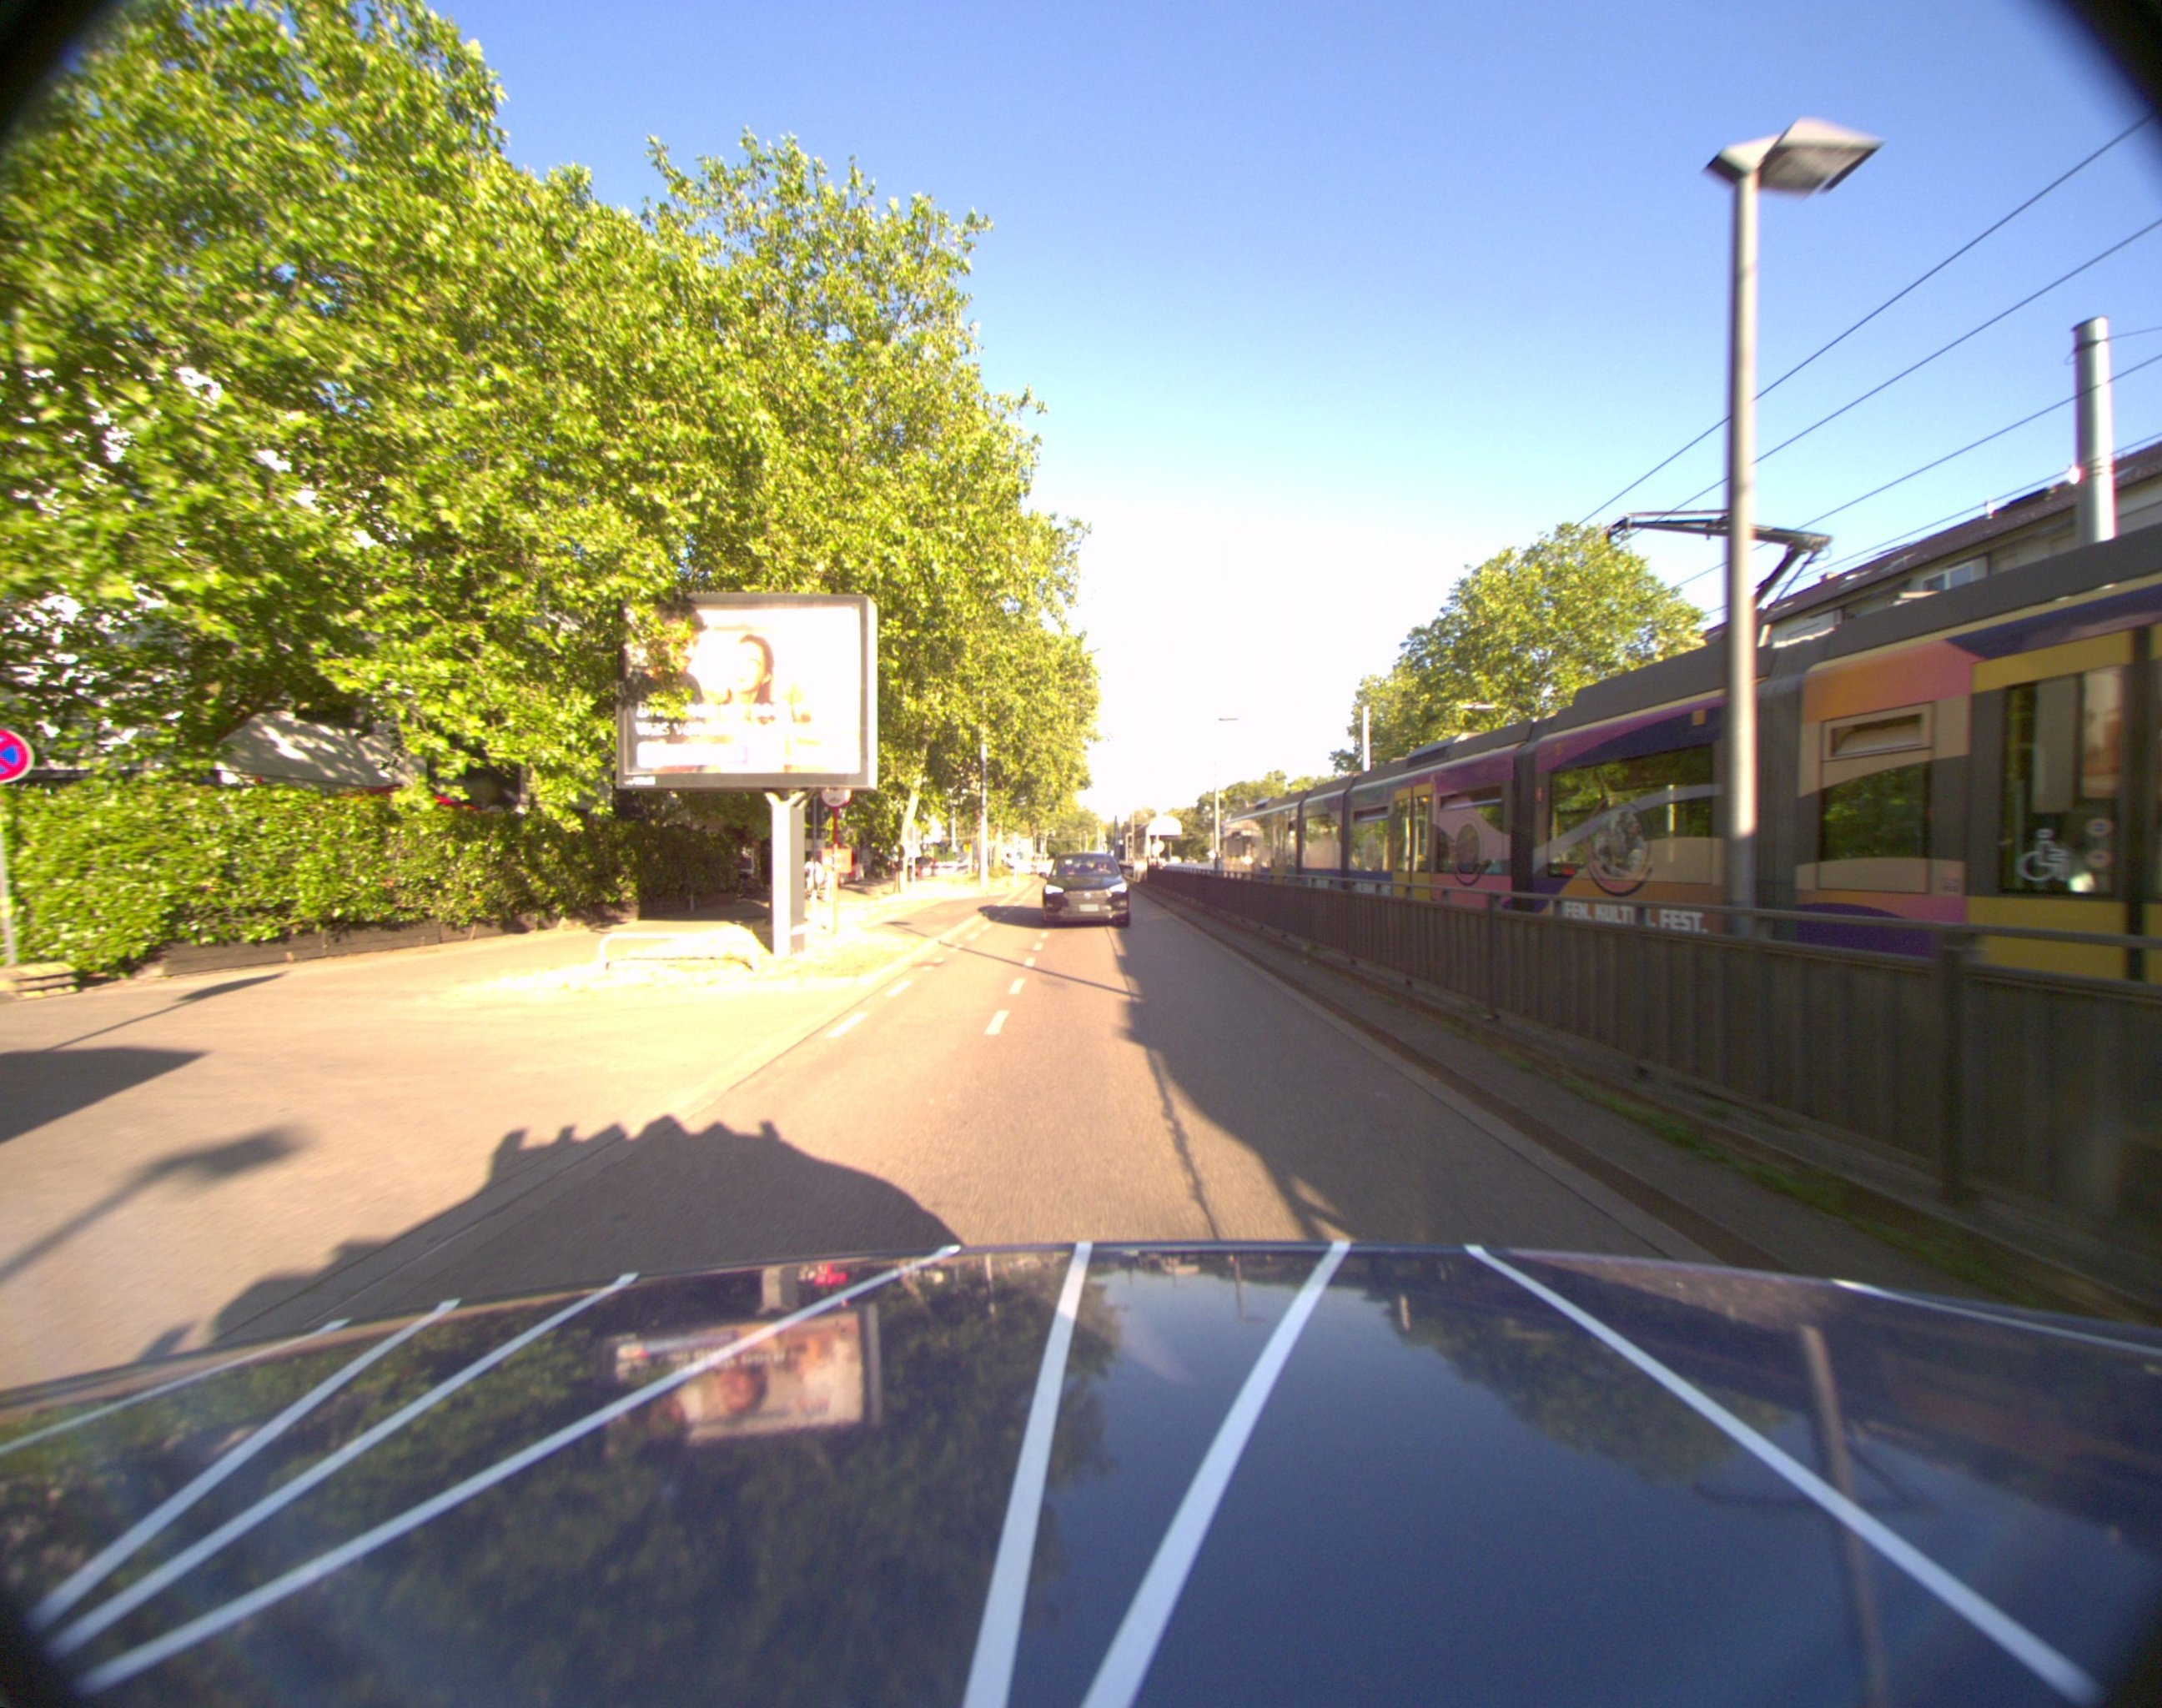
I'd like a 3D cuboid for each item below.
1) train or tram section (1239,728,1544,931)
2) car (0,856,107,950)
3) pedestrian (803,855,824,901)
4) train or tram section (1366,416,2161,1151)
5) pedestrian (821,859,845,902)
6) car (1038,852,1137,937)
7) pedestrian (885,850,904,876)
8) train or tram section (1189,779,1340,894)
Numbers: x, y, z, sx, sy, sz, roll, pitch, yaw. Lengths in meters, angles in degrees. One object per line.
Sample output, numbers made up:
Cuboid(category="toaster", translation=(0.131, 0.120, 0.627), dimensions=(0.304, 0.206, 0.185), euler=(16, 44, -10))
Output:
Cuboid(category="train or tram section", translation=(6.486, -0.474, 18.327), dimensions=(3.043, 3.497, 10.094), euler=(1, 1, -1))
Cuboid(category="car", translation=(-19.523, 0.851, 12.345), dimensions=(1.819, 1.600, 4.299), euler=(0, 0, 1))
Cuboid(category="pedestrian", translation=(-9.764, 0.877, 27.760), dimensions=(0.555, 1.658, 0.694), euler=(0, 1, -4))
Cuboid(category="train or tram section", translation=(6.601, -0.368, 8.235), dimensions=(3.043, 3.497, 10.094), euler=(1, 1, -1))
Cuboid(category="pedestrian", translation=(-8.981, 0.950, 27.551), dimensions=(0.626, 1.533, 0.765), euler=(0, 1, -4))
Cuboid(category="car", translation=(0.068, 0.810, 17.202), dimensions=(1.911, 1.606, 4.085), euler=(-2, 0, -2))
Cuboid(category="pedestrian", translation=(-13.174, 0.632, 53.743), dimensions=(1.062, 1.853, 0.951), euler=(0, 1, 0))
Cuboid(category="train or tram section", translation=(6.361, -0.590, 28.435), dimensions=(3.043, 3.497, 10.094), euler=(1, 1, -1))
